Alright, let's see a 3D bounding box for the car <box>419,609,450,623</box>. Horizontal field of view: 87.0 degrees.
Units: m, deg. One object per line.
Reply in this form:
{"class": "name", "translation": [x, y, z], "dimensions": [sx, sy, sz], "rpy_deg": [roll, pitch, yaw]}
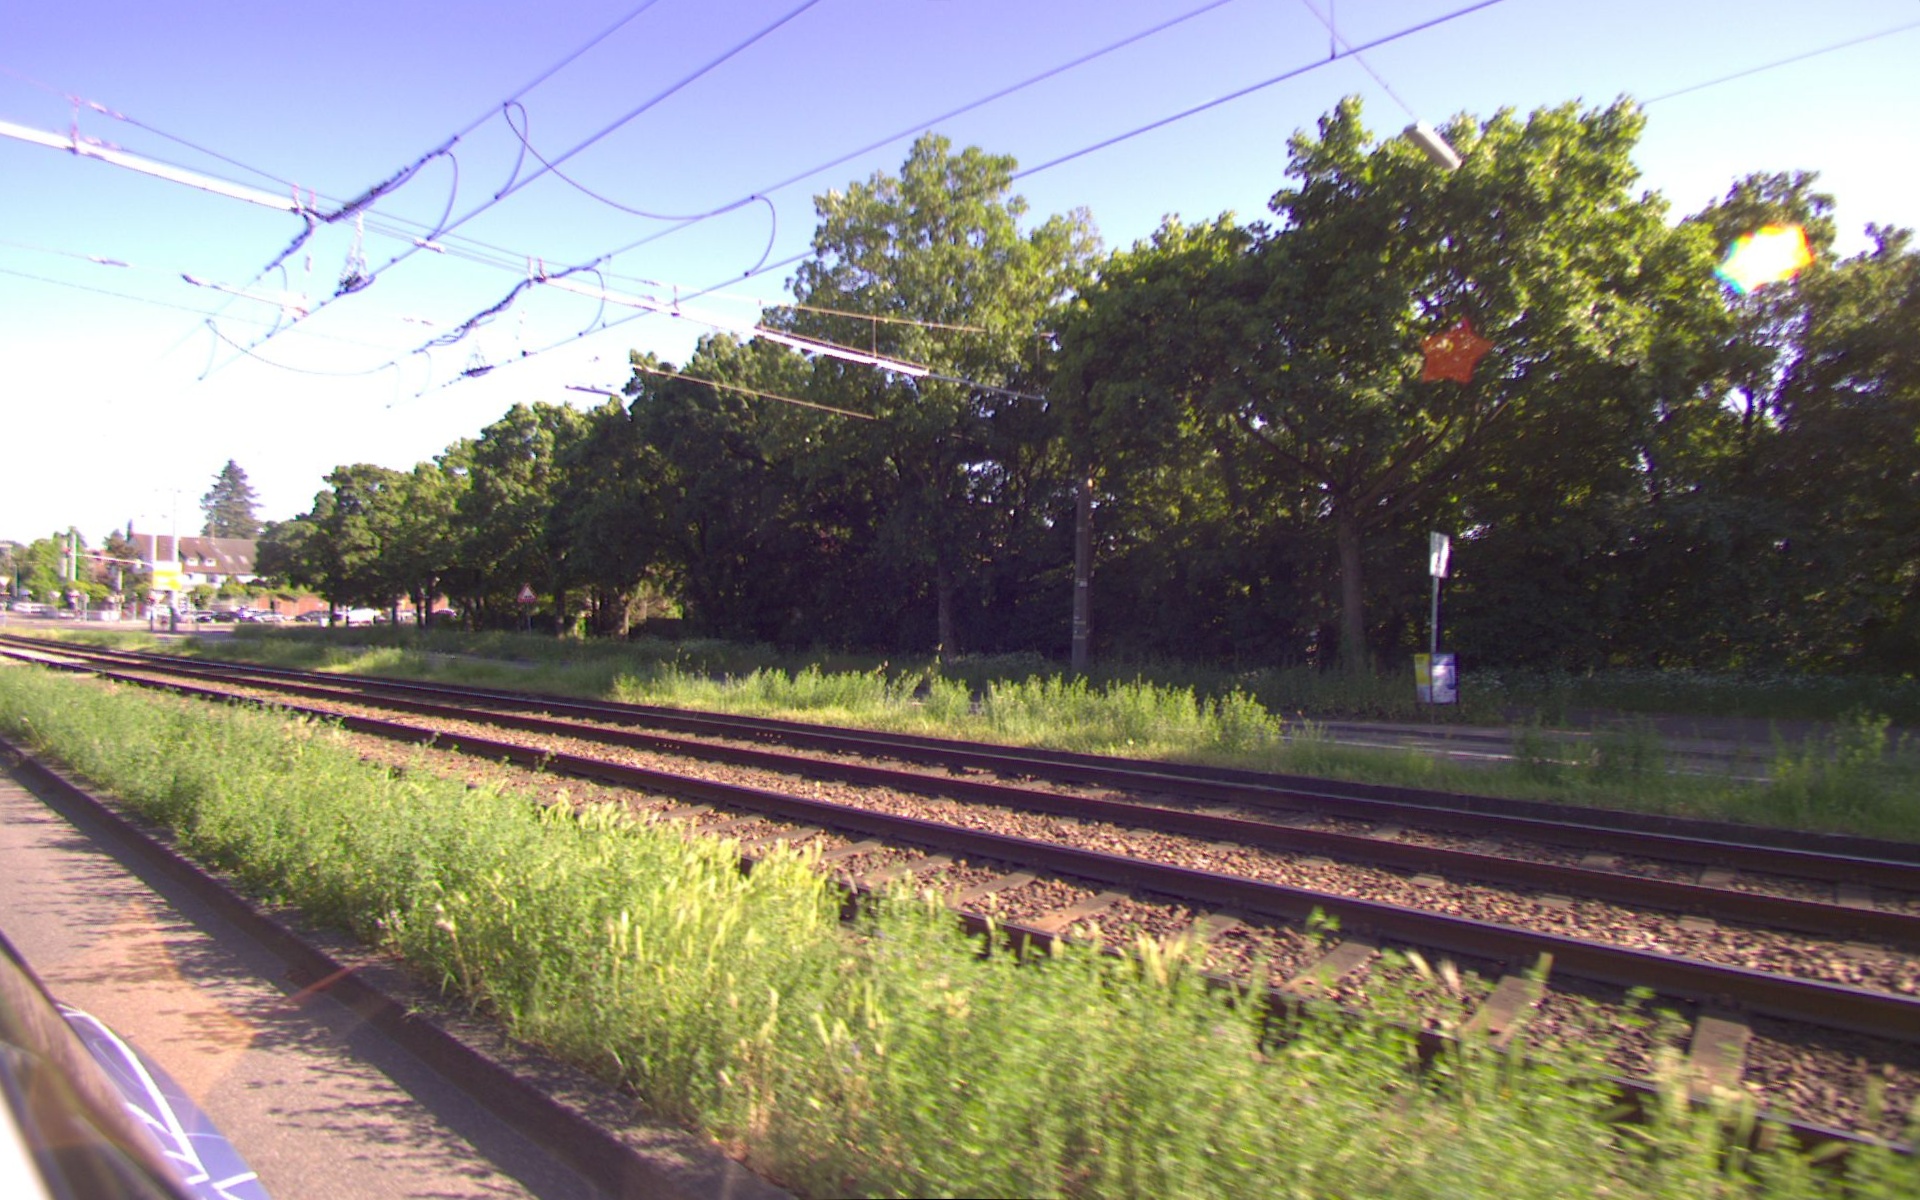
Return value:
{"class": "car", "translation": [-76.059, 2.348, 146.599], "dimensions": [1.791, 2.029, 3.982], "rpy_deg": [1, -1, 14]}

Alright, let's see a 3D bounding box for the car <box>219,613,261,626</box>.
{"class": "car", "translation": [-86.872, 2.354, 122.147], "dimensions": [1.657, 1.488, 3.980], "rpy_deg": [1, -1, 15]}

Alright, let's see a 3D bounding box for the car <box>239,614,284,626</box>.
{"class": "car", "translation": [-83.549, 2.391, 121.136], "dimensions": [1.920, 1.477, 4.238], "rpy_deg": [0, -1, 15]}

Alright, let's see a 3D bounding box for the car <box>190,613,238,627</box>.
{"class": "car", "translation": [-85.385, 2.275, 115.904], "dimensions": [1.920, 1.477, 4.228], "rpy_deg": [1, 0, 15]}

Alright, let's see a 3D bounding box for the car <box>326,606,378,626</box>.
{"class": "car", "translation": [-79.780, 2.086, 132.816], "dimensions": [2.162, 2.429, 5.888], "rpy_deg": [1, -1, 17]}
